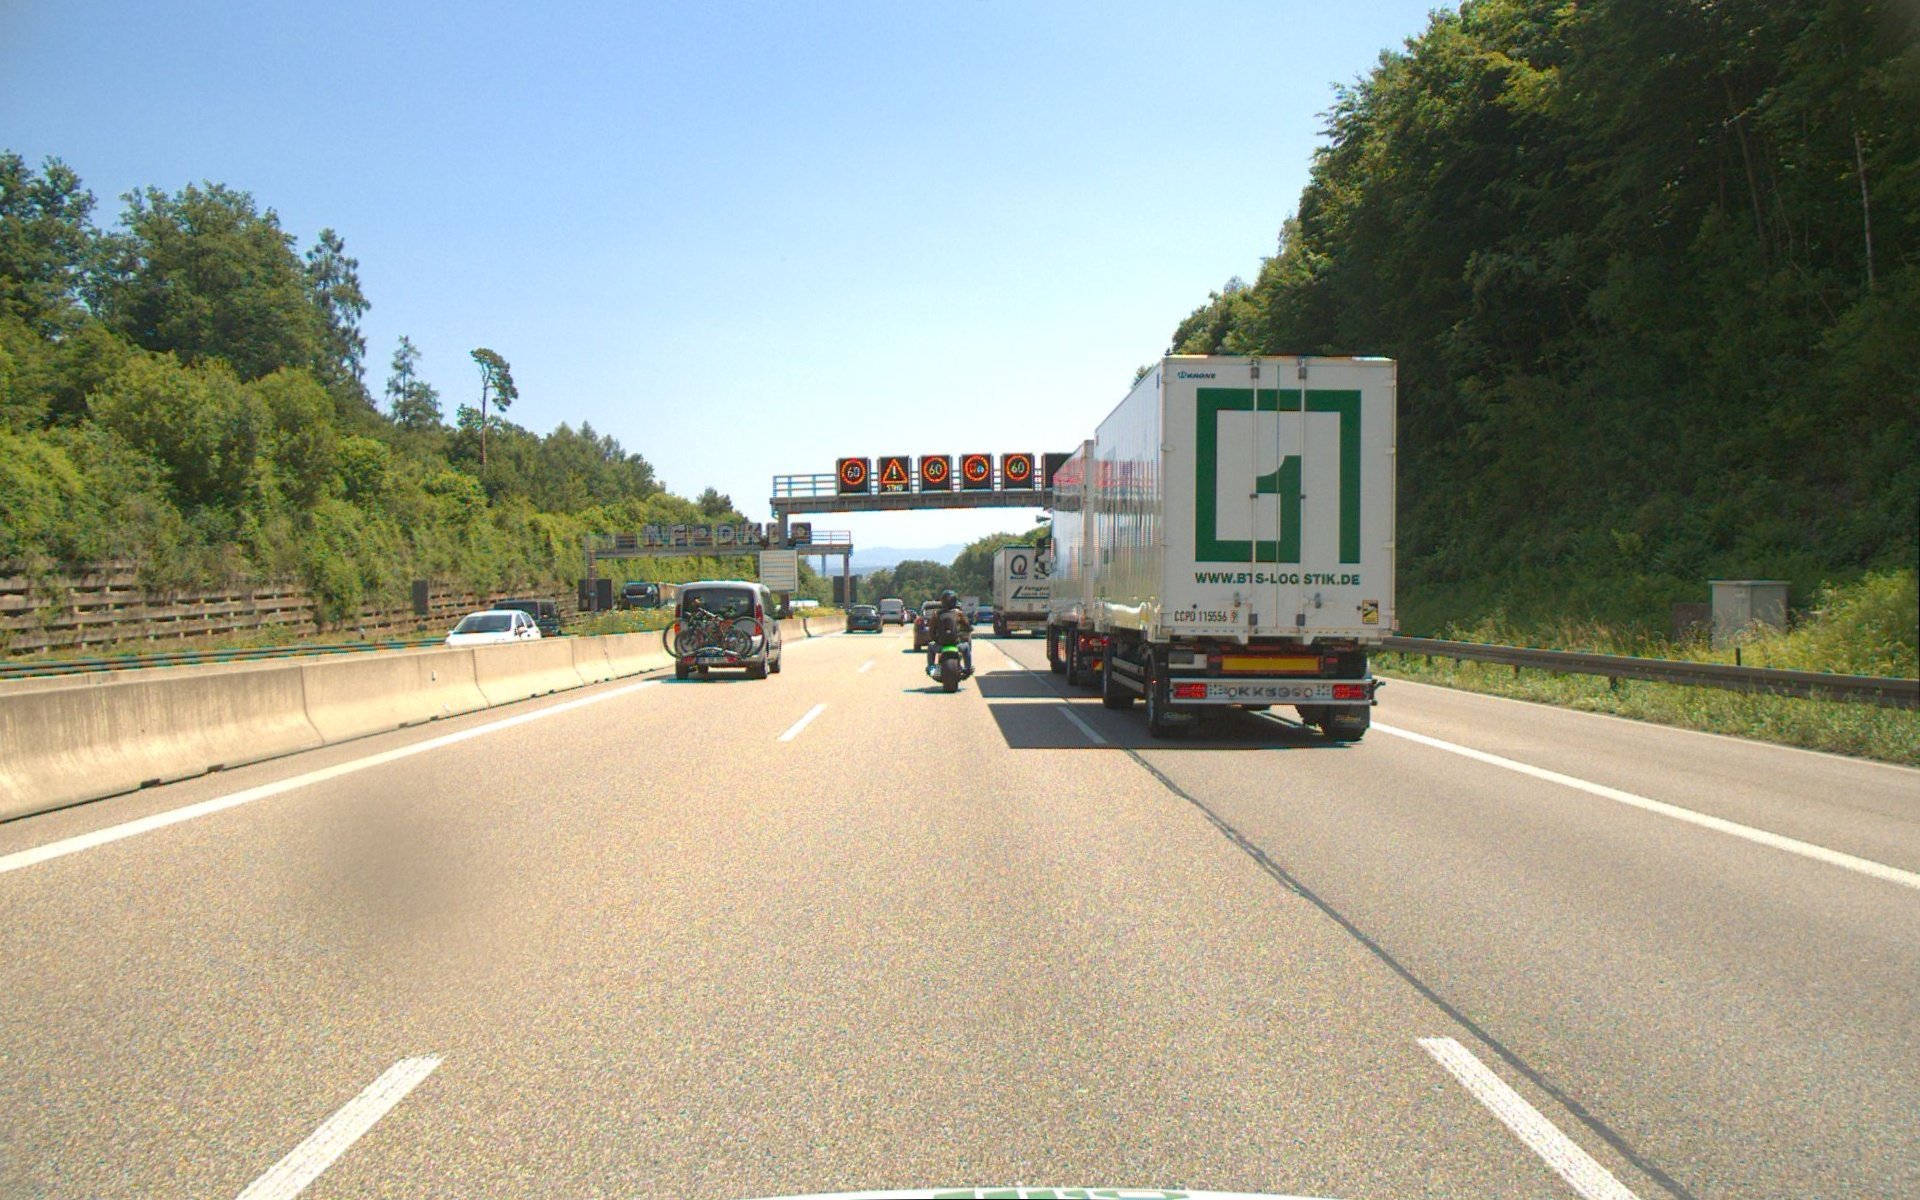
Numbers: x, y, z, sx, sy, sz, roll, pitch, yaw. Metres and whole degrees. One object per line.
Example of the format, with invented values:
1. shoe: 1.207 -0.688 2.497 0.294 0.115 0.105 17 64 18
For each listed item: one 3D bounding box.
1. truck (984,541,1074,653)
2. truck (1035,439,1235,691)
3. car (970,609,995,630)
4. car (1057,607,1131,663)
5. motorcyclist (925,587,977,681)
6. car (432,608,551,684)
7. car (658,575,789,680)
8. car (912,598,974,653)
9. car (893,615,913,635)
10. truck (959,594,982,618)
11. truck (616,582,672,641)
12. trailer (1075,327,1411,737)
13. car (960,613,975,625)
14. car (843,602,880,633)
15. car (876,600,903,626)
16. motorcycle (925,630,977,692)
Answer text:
1. truck: 3.127 -0.072 80.481 3.314 4.800 17.704 1 0 -1
2. truck: 3.123 -0.544 32.508 2.625 4.131 10.622 0 0 -1
3. car: 1.692 1.491 125.307 1.794 1.553 4.026 0 0 -1
4. car: 4.041 1.036 50.539 1.808 1.584 4.391 0 0 -1
5. motorcyclist: -0.145 0.559 27.658 0.838 1.541 0.913 0 -1 0
6. car: -11.102 1.051 39.473 1.711 1.633 4.057 -2 0 -1
7. car: -4.541 0.538 32.492 1.859 1.880 5.481 0 -1 -1
8. car: -0.532 0.730 50.128 1.808 1.584 4.438 0 0 -1
9. car: -5.456 2.377 158.138 1.794 1.842 4.119 0 0 -1
10. truck: 1.431 0.864 235.663 3.005 3.405 9.649 1 0 -1
11. truck: -23.137 0.834 121.233 2.875 4.130 5.867 -3 0 -1
12. trailer: 3.290 -0.678 22.206 2.625 4.249 10.062 0 0 -1
13. car: 0.916 2.387 207.942 1.794 1.553 4.026 0 0 -1
14. car: -5.101 0.902 86.036 1.722 1.571 4.394 0 0 -1
15. car: -4.997 0.899 117.832 1.794 1.842 4.119 0 0 -1
16. motorcycle: -0.143 0.999 27.667 0.844 0.999 2.130 0 -1 0
